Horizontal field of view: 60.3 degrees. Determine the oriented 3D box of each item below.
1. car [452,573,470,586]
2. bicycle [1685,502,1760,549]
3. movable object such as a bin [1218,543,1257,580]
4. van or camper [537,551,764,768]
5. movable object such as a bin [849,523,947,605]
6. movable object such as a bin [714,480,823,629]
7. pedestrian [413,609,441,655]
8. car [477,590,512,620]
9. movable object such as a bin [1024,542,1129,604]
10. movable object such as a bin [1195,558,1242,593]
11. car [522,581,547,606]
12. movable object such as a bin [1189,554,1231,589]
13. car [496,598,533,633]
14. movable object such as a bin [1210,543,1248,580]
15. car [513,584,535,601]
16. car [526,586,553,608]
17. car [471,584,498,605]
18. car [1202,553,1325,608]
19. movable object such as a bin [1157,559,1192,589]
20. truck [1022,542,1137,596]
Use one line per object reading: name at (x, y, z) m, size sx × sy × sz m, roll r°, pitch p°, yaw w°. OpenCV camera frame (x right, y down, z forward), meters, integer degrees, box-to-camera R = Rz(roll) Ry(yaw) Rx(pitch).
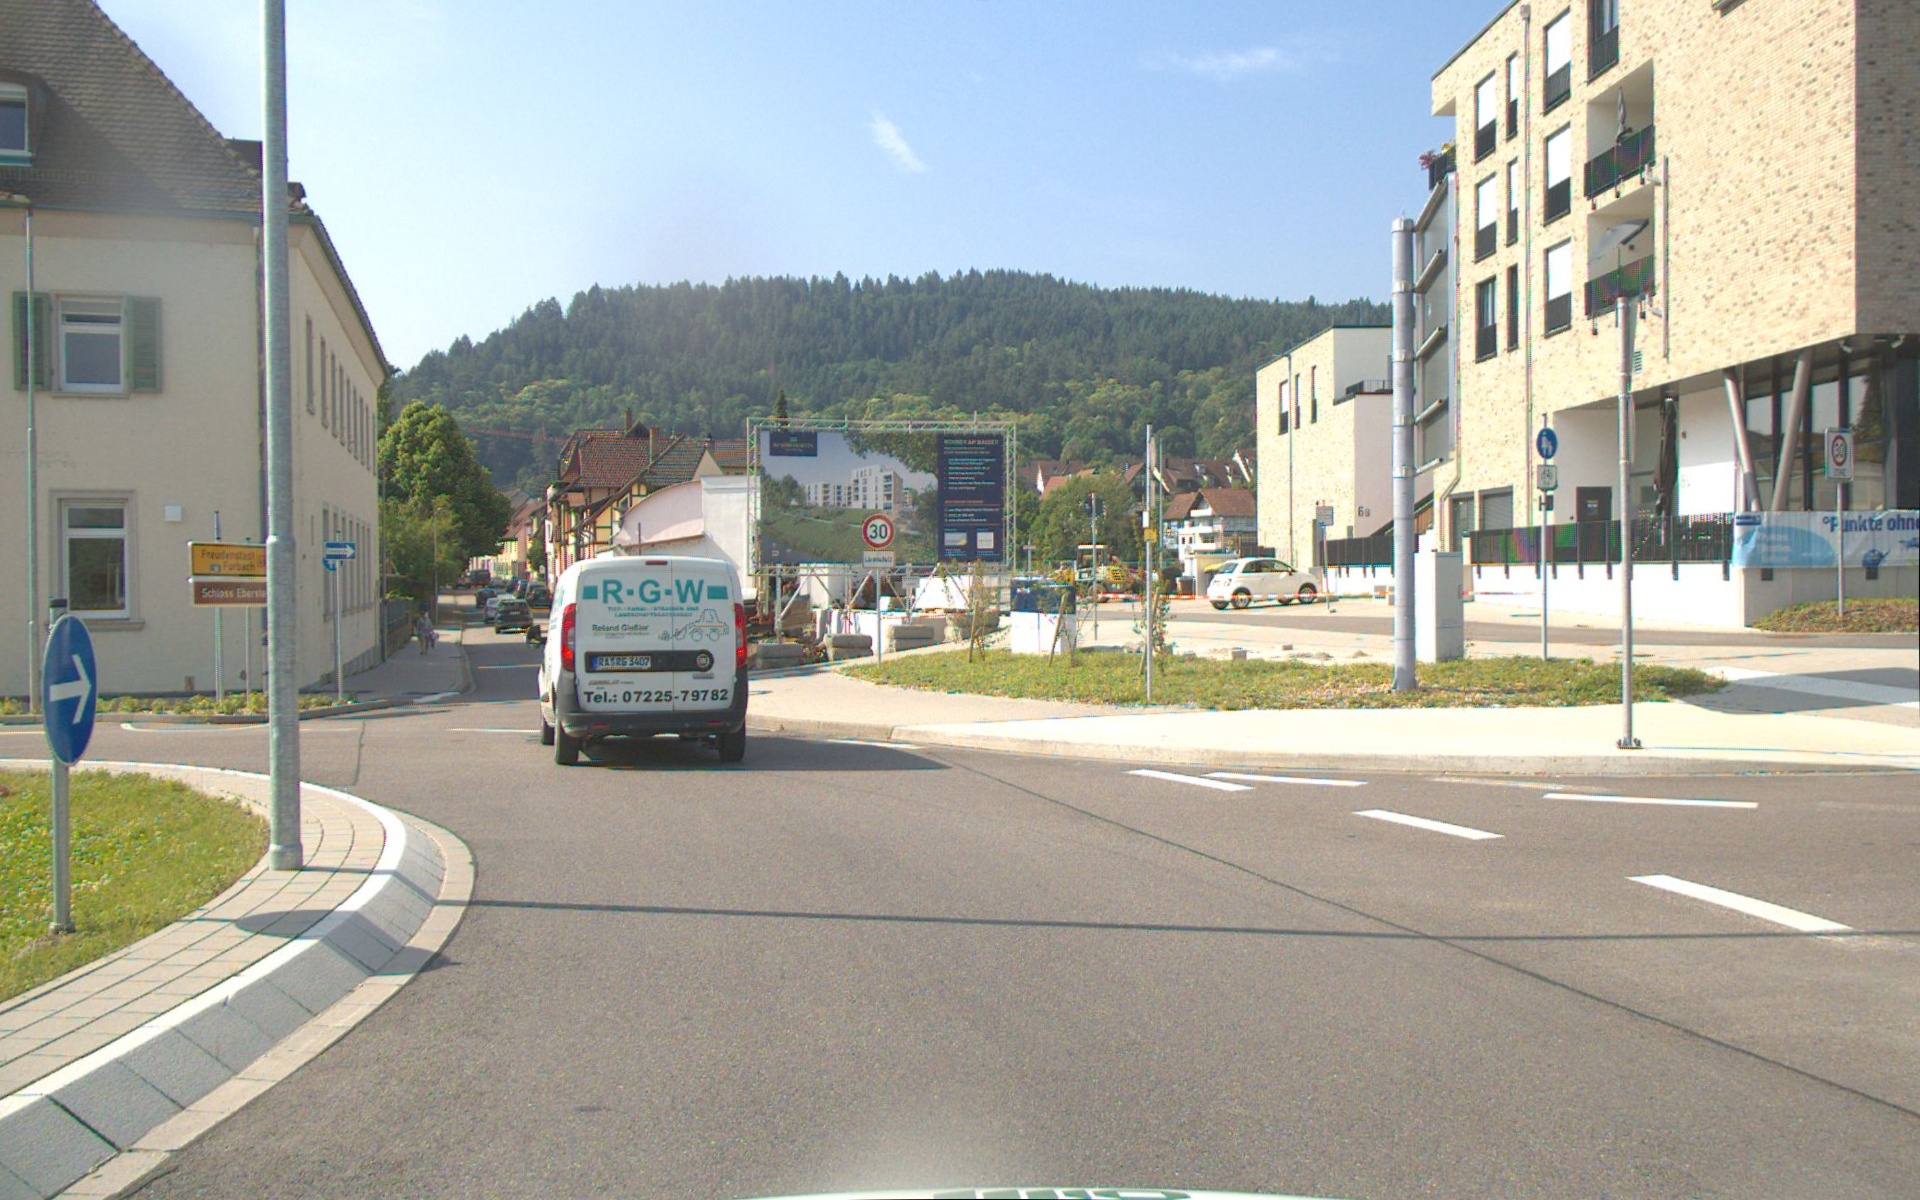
car at (-62.546, -2.569, 207.217) m, size 1.785 × 1.624 × 3.902 m, roll 1°, pitch 1°, yaw -21°
bicycle at (18.526, -1.789, 40.245) m, size 0.678 × 1.063 × 2.244 m, roll 2°, pitch 1°, yaw -3°
movable object such as a bin at (11.601, -1.603, 69.200) m, size 1.274 × 1.489 × 1.318 m, roll 2°, pitch 1°, yaw -7°
van or camper at (-3.214, 0.552, 16.532) m, size 1.799 × 1.877 × 4.168 m, roll 0°, pitch -1°, yaw -17°
movable object such as a bin at (-2.868, -1.674, 78.451) m, size 2.790 × 3.685 × 5.739 m, roll 2°, pitch 1°, yaw 18°
movable object such as a bin at (-5.685, -1.227, 48.000) m, size 2.255 × 3.921 × 7.773 m, roll 1°, pitch 0°, yaw -13°
pedestrian at (-19.514, 1.174, 60.586) m, size 0.943 × 1.659 × 0.754 m, roll 0°, pitch 0°, yaw -17°
car at (-27.575, 0.270, 98.089) m, size 1.780 × 1.624 × 3.913 m, roll 1°, pitch 1°, yaw -14°
movable object such as a bin at (5.331, -1.244, 75.485) m, size 4.514 × 2.614 × 1.927 m, roll -2°, pitch 0°, yaw 9°
movable object such as a bin at (11.250, -1.070, 72.023) m, size 1.661 × 1.489 × 1.318 m, roll 2°, pitch 1°, yaw -7°
car at (-35.197, -0.542, 136.824) m, size 1.842 × 2.049 × 3.981 m, roll 0°, pitch 1°, yaw -17°
movable object such as a bin at (11.098, -1.268, 73.505) m, size 1.550 × 1.489 × 1.318 m, roll 2°, pitch 1°, yaw -7°
car at (-22.695, 0.773, 84.190) m, size 1.781 × 1.624 × 3.910 m, roll 1°, pitch 1°, yaw -16°
movable object such as a bin at (11.476, -1.644, 70.604) m, size 1.274 × 1.489 × 1.318 m, roll 2°, pitch 1°, yaw -7°
car at (-40.166, -0.707, 152.335) m, size 1.644 × 1.534 × 3.979 m, roll -2°, pitch 1°, yaw -19°
car at (-32.361, -0.246, 127.243) m, size 1.781 × 1.624 × 3.909 m, roll 1°, pitch 1°, yaw -16°
car at (-37.784, -0.446, 131.479) m, size 1.780 × 1.624 × 3.913 m, roll 1°, pitch 1°, yaw -14°
car at (9.355, -0.599, 51.006) m, size 3.352 × 1.521 × 1.586 m, roll -2°, pitch 0°, yaw -18°
movable object such as a bin at (9.800, -1.191, 75.679) m, size 1.271 × 1.290 × 1.318 m, roll 2°, pitch 1°, yaw -7°
truck at (5.721, -1.475, 78.743) m, size 5.201 × 2.305 × 2.221 m, roll -2°, pitch 0°, yaw 9°
